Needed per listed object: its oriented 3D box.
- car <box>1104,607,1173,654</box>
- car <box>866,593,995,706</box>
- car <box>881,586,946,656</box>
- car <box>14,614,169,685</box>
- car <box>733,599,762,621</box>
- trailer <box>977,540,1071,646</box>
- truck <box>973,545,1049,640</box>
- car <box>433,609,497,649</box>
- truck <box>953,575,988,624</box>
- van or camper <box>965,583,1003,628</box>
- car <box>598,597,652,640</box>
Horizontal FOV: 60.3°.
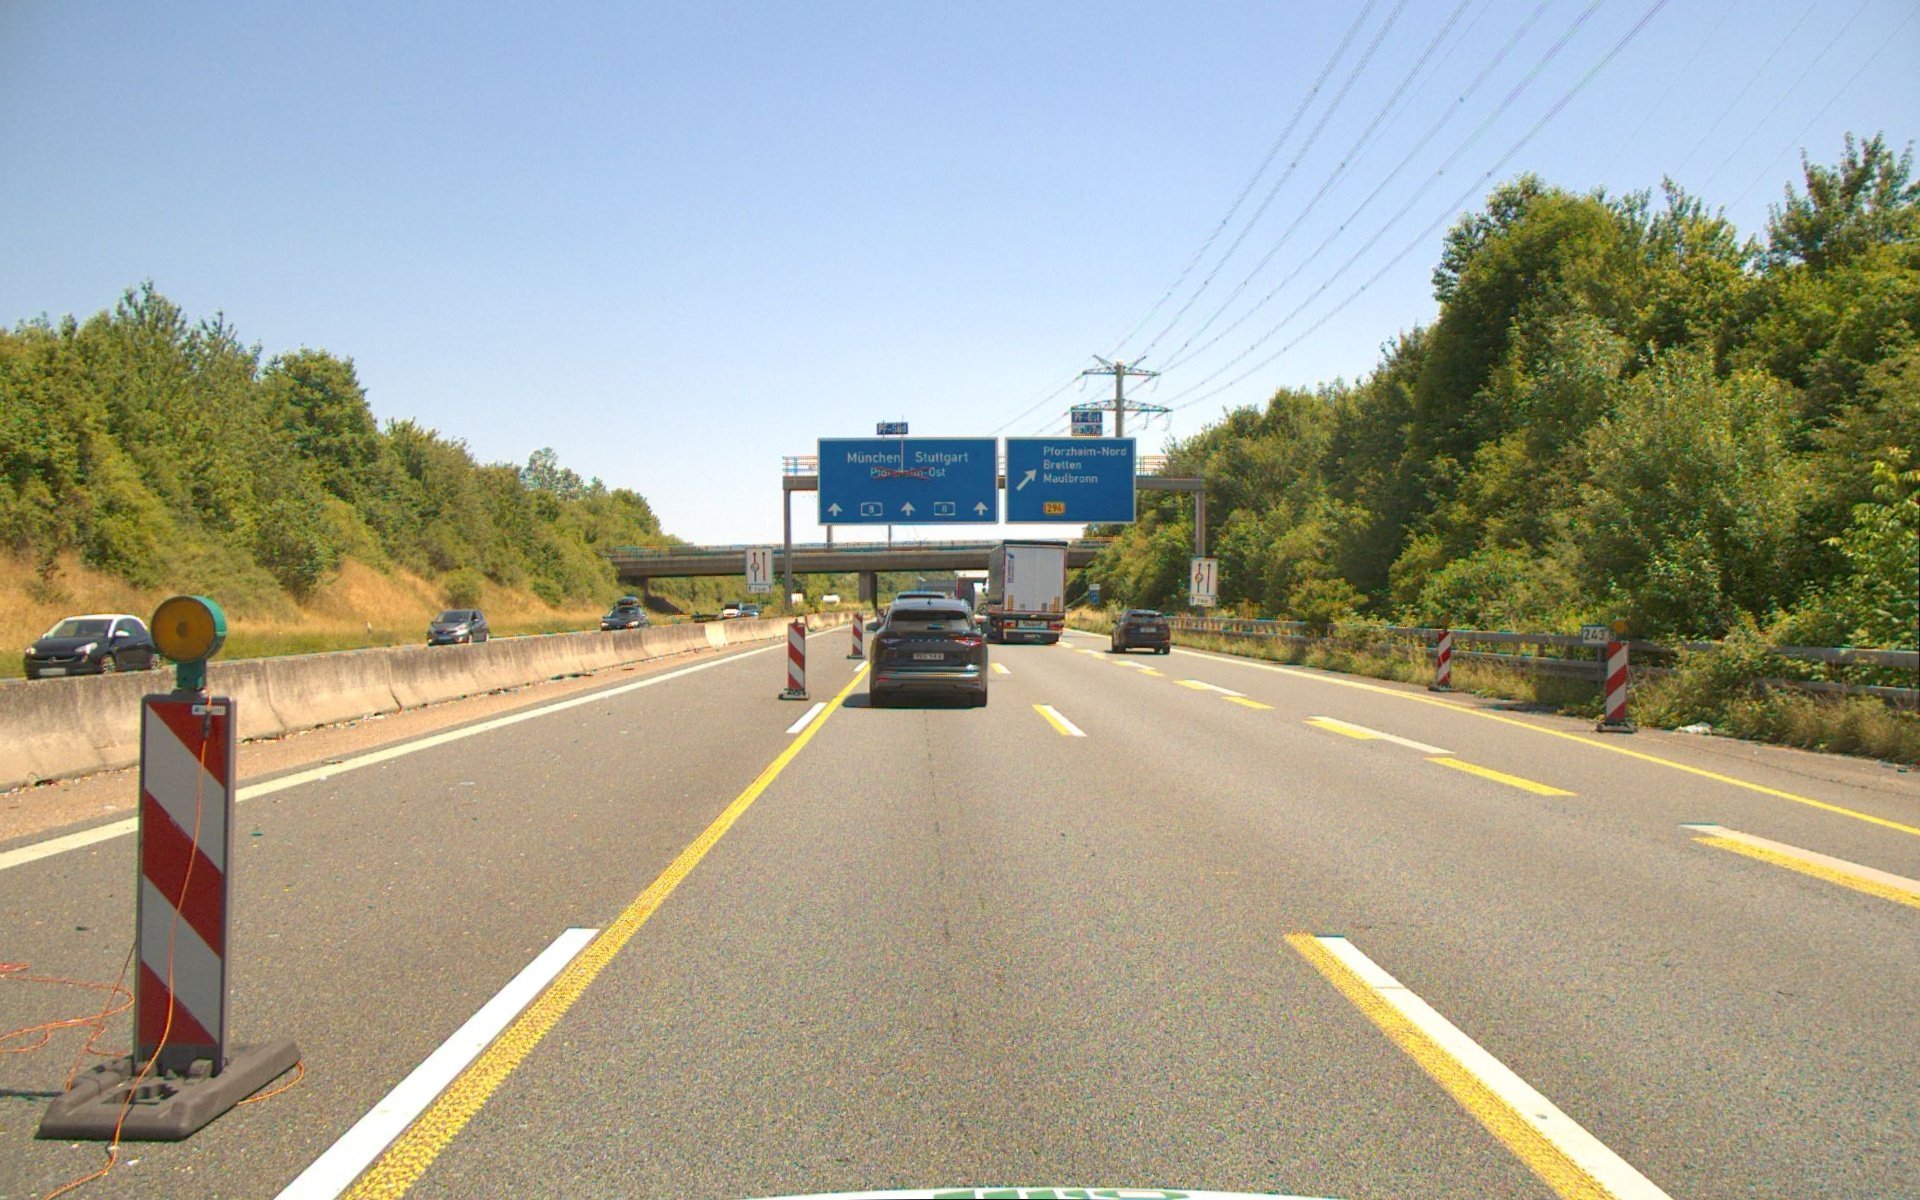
[{"bbox_3d":[6.134,1.020,57.248,1.743,1.515,4.462,1,0,-1],"label":"car"},{"bbox_3d":[-0.511,0.710,26.311,1.857,1.620,4.441,1,0,-2],"label":"car"},{"bbox_3d":[-1.459,0.605,51.418,1.858,1.873,4.442,3,2,-2],"label":"car"},{"bbox_3d":[-19.466,1.071,37.238,1.542,1.490,3.778,-1,0,-1],"label":"car"},{"bbox_3d":[-17.640,0.847,137.277,1.874,1.784,4.564,1,0,-1],"label":"car"},{"bbox_3d":[2.549,-0.282,70.207,3.004,4.113,11.481,1,0,-3],"label":"trailer"},{"bbox_3d":[2.291,-0.319,77.202,2.964,4.159,7.791,1,0,-2],"label":"truck"},{"bbox_3d":[-20.088,1.152,67.259,1.469,1.575,3.999,-1,0,-1],"label":"car"},{"bbox_3d":[0.918,-0.025,151.190,3.015,4.219,13.053,1,0,0],"label":"truck"},{"bbox_3d":[1.644,0.363,115.290,2.533,3.020,6.084,1,0,0],"label":"van or camper"},{"bbox_3d":[-15.020,0.822,74.302,1.707,1.850,4.620,0,0,-3],"label":"car"}]
